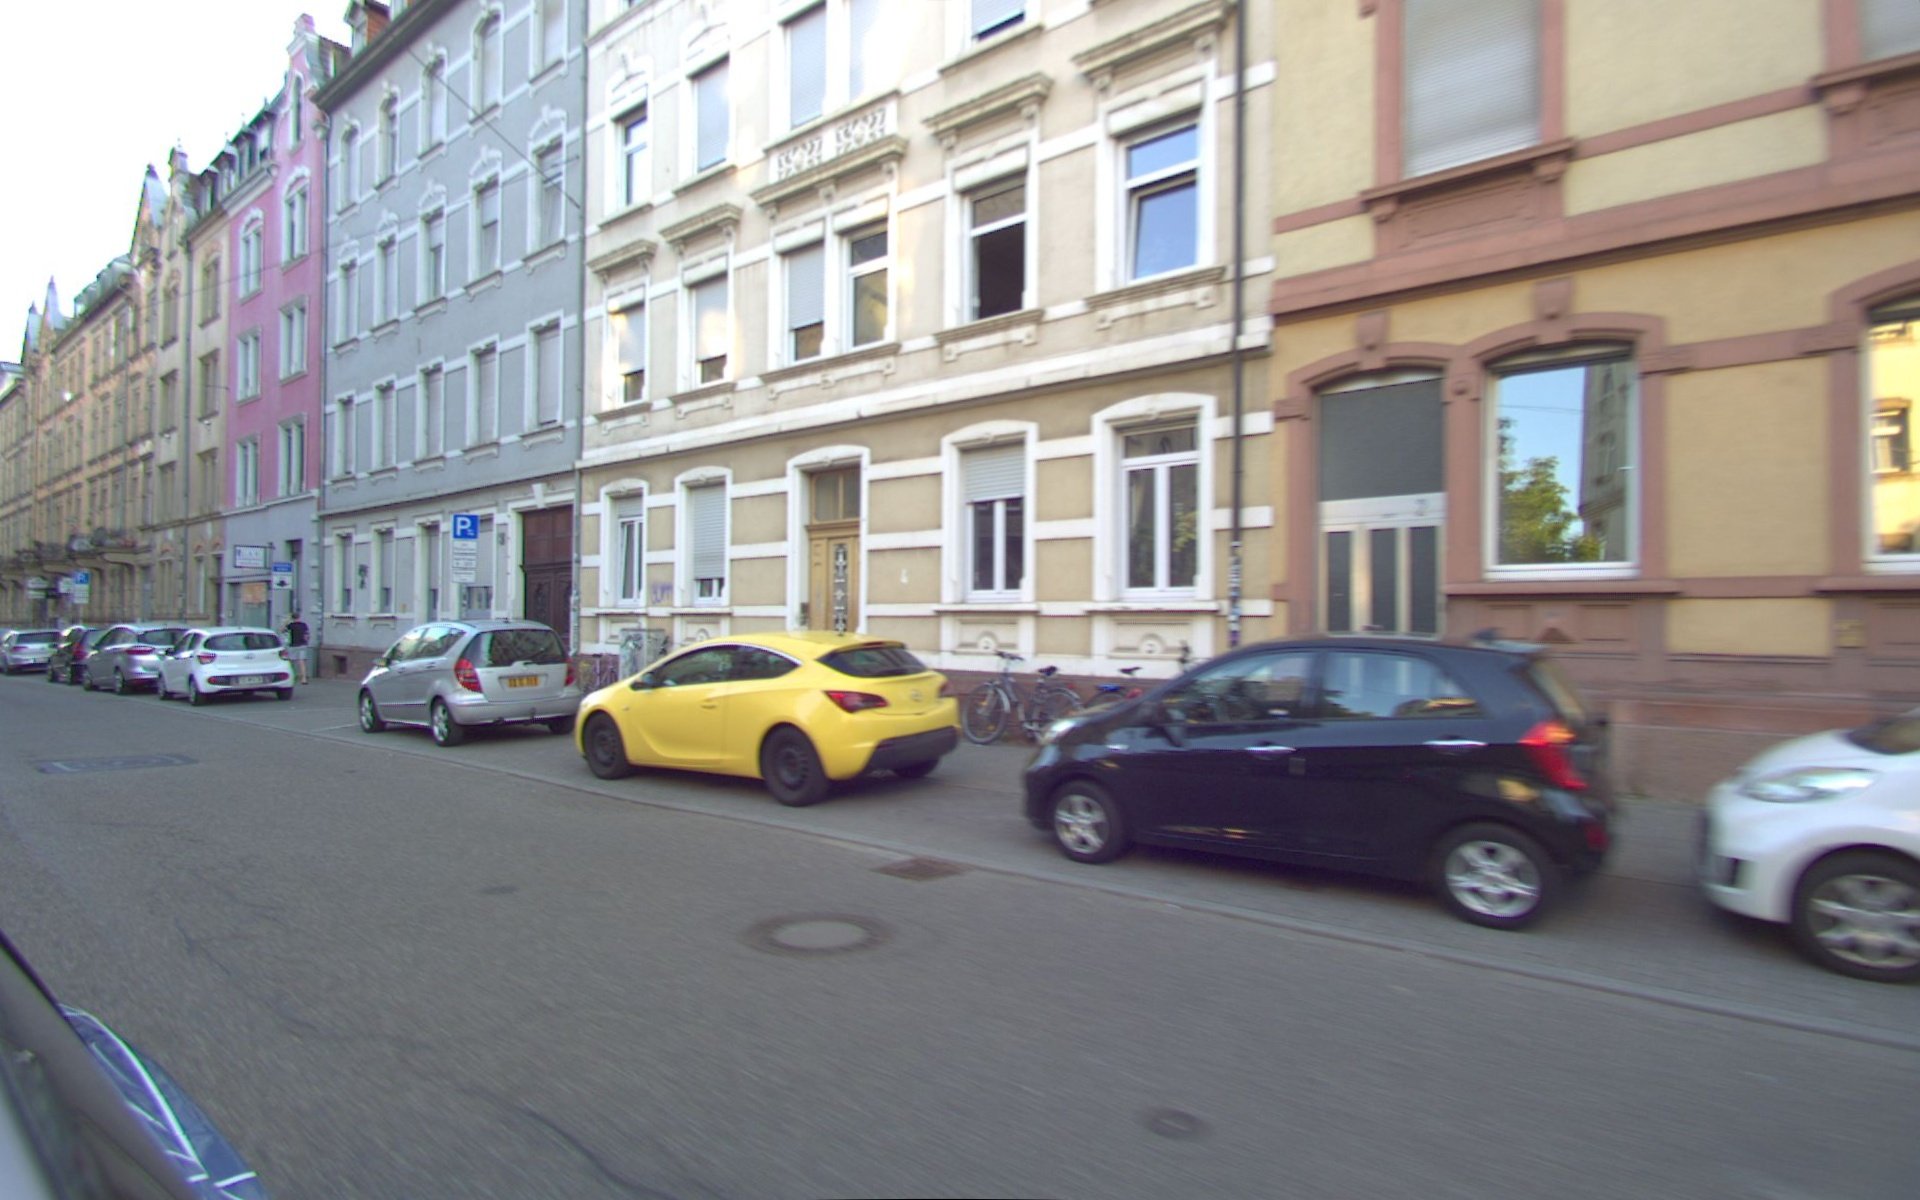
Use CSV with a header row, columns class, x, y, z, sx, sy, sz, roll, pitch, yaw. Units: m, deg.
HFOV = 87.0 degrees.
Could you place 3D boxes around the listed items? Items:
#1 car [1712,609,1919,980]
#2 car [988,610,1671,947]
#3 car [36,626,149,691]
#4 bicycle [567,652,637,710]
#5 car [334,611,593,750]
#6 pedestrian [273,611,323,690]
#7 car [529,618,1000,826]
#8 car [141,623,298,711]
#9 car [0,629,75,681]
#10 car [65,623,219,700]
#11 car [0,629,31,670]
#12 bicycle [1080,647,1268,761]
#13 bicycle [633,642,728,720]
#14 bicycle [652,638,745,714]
class,x,y,z,sx,sy,sz,roll,pitch,yaw
car,5.345,0.788,4.102,3.610,1.502,1.667,-1,0,39
car,2.199,0.852,6.410,3.735,1.502,1.713,-1,0,36
car,-24.135,1.572,28.110,4.054,1.605,1.735,-2,0,40
bicycle,-6.342,1.422,17.891,1.463,0.984,0.396,-1,-5,38
car,-7.012,1.009,14.113,4.143,1.605,1.781,-2,0,41
pedestrian,-16.712,1.263,25.547,0.834,1.964,0.840,-2,-3,43
car,-2.095,0.999,9.943,4.794,1.537,1.821,-2,0,38
car,-15.344,1.311,20.906,3.924,1.588,1.735,-2,0,40
car,-31.386,1.808,34.107,4.055,1.486,1.735,-2,3,41
car,-19.463,1.384,24.014,4.665,1.605,1.815,-2,0,38
car,-38.254,1.964,39.923,4.275,1.486,1.736,-2,3,40
bicycle,2.216,1.041,10.609,1.832,1.078,0.655,-1,-2,38
bicycle,-4.391,1.228,15.827,1.863,1.149,0.474,-2,-3,41
bicycle,-4.175,1.179,16.088,1.863,1.149,0.474,-2,-3,41
